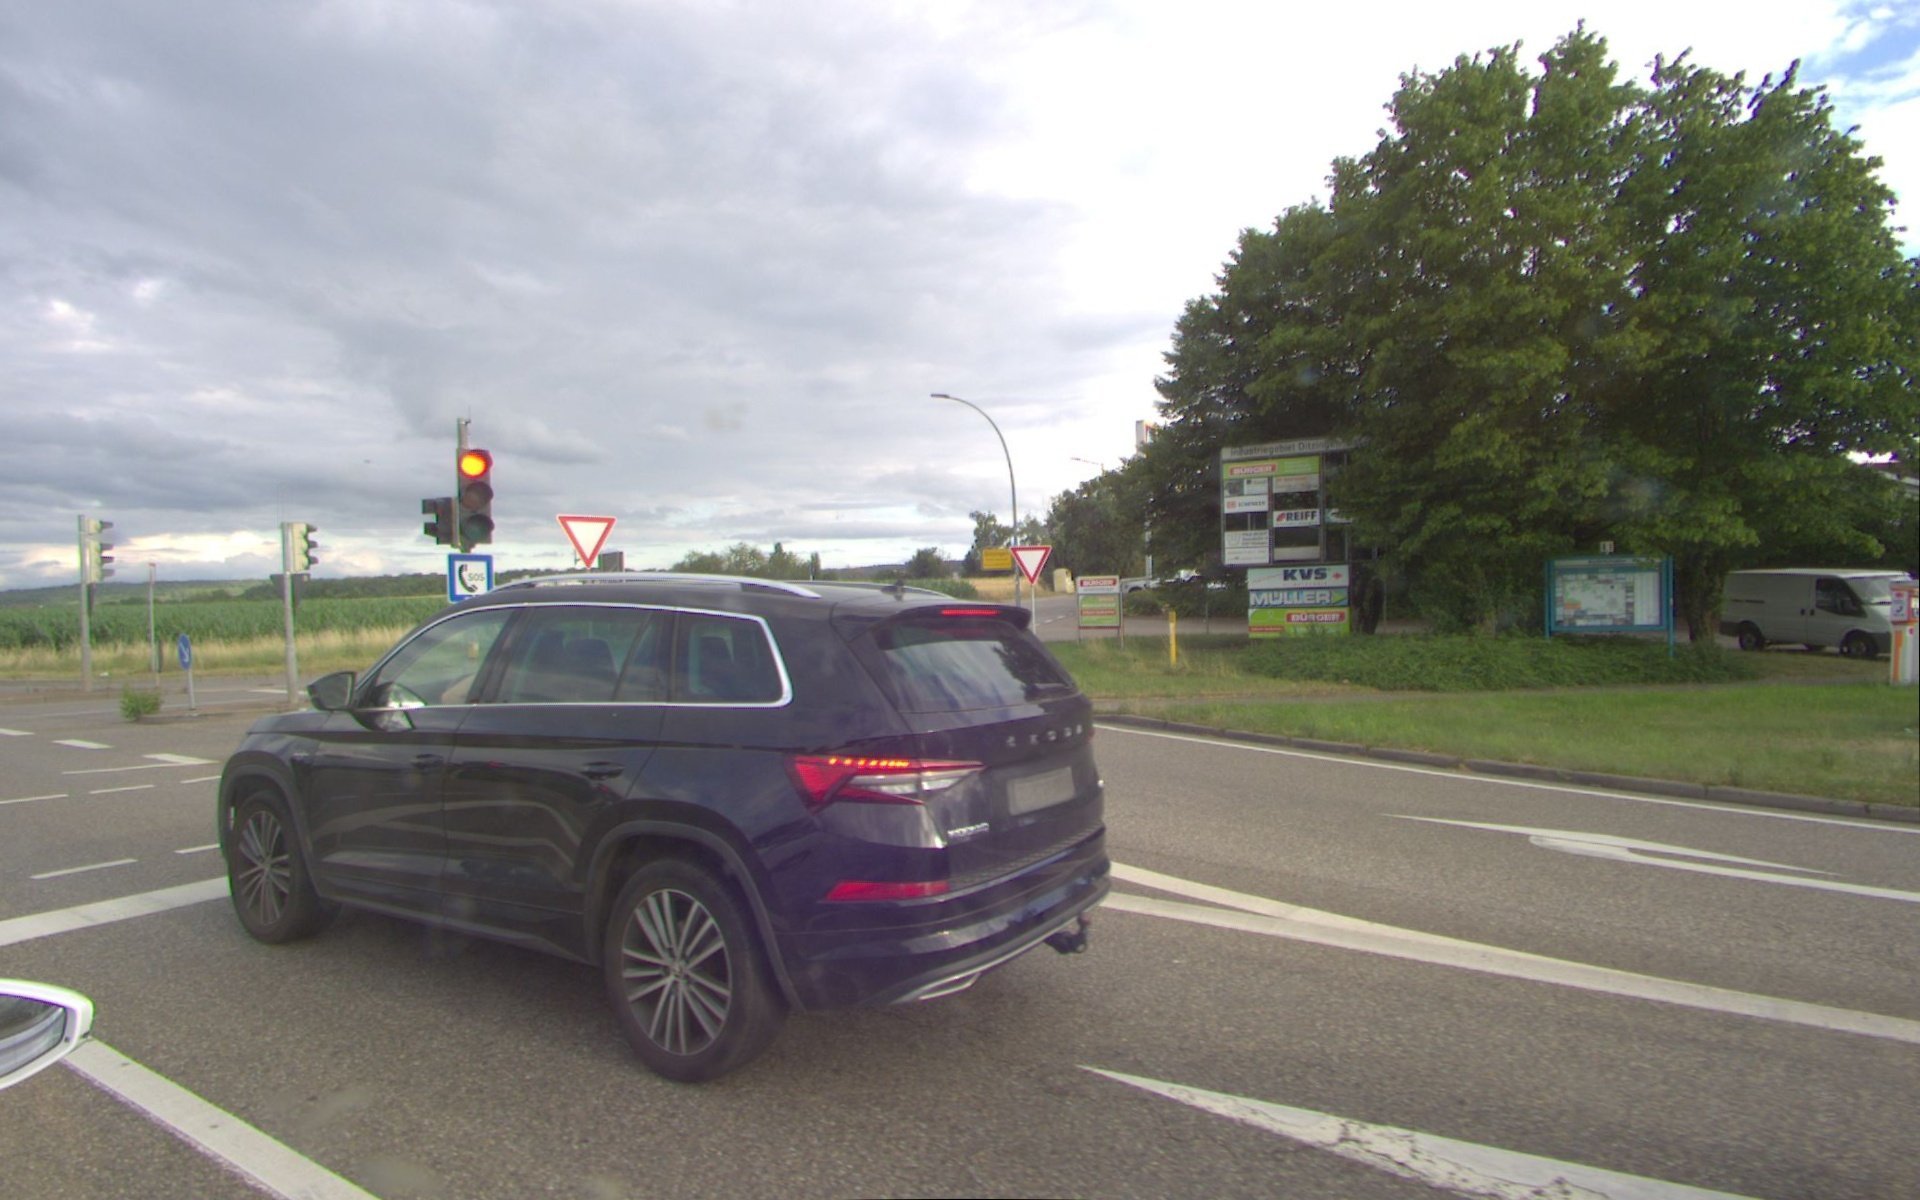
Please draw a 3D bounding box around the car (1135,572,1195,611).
[{"bbox_3d":[11.101,-0.487,53.906,1.931,1.910,4.284,-1,2,29],"label":"car"}]

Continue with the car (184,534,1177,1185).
[{"bbox_3d":[-1.446,0.719,4.534,4.416,1.671,1.842,-1,-2,32],"label":"car"}]

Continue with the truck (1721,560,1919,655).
[{"bbox_3d":[20.684,0.213,23.568,1.788,2.022,4.671,0,-1,-3],"label":"truck"}]

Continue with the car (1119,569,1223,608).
[{"bbox_3d":[12.079,-0.665,57.394,5.524,2.041,1.992,-2,1,25],"label":"car"}]

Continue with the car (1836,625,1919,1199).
[{"bbox_3d":[3.599,0.752,0.934,3.937,1.451,1.660,-1,-1,32],"label":"car"}]
